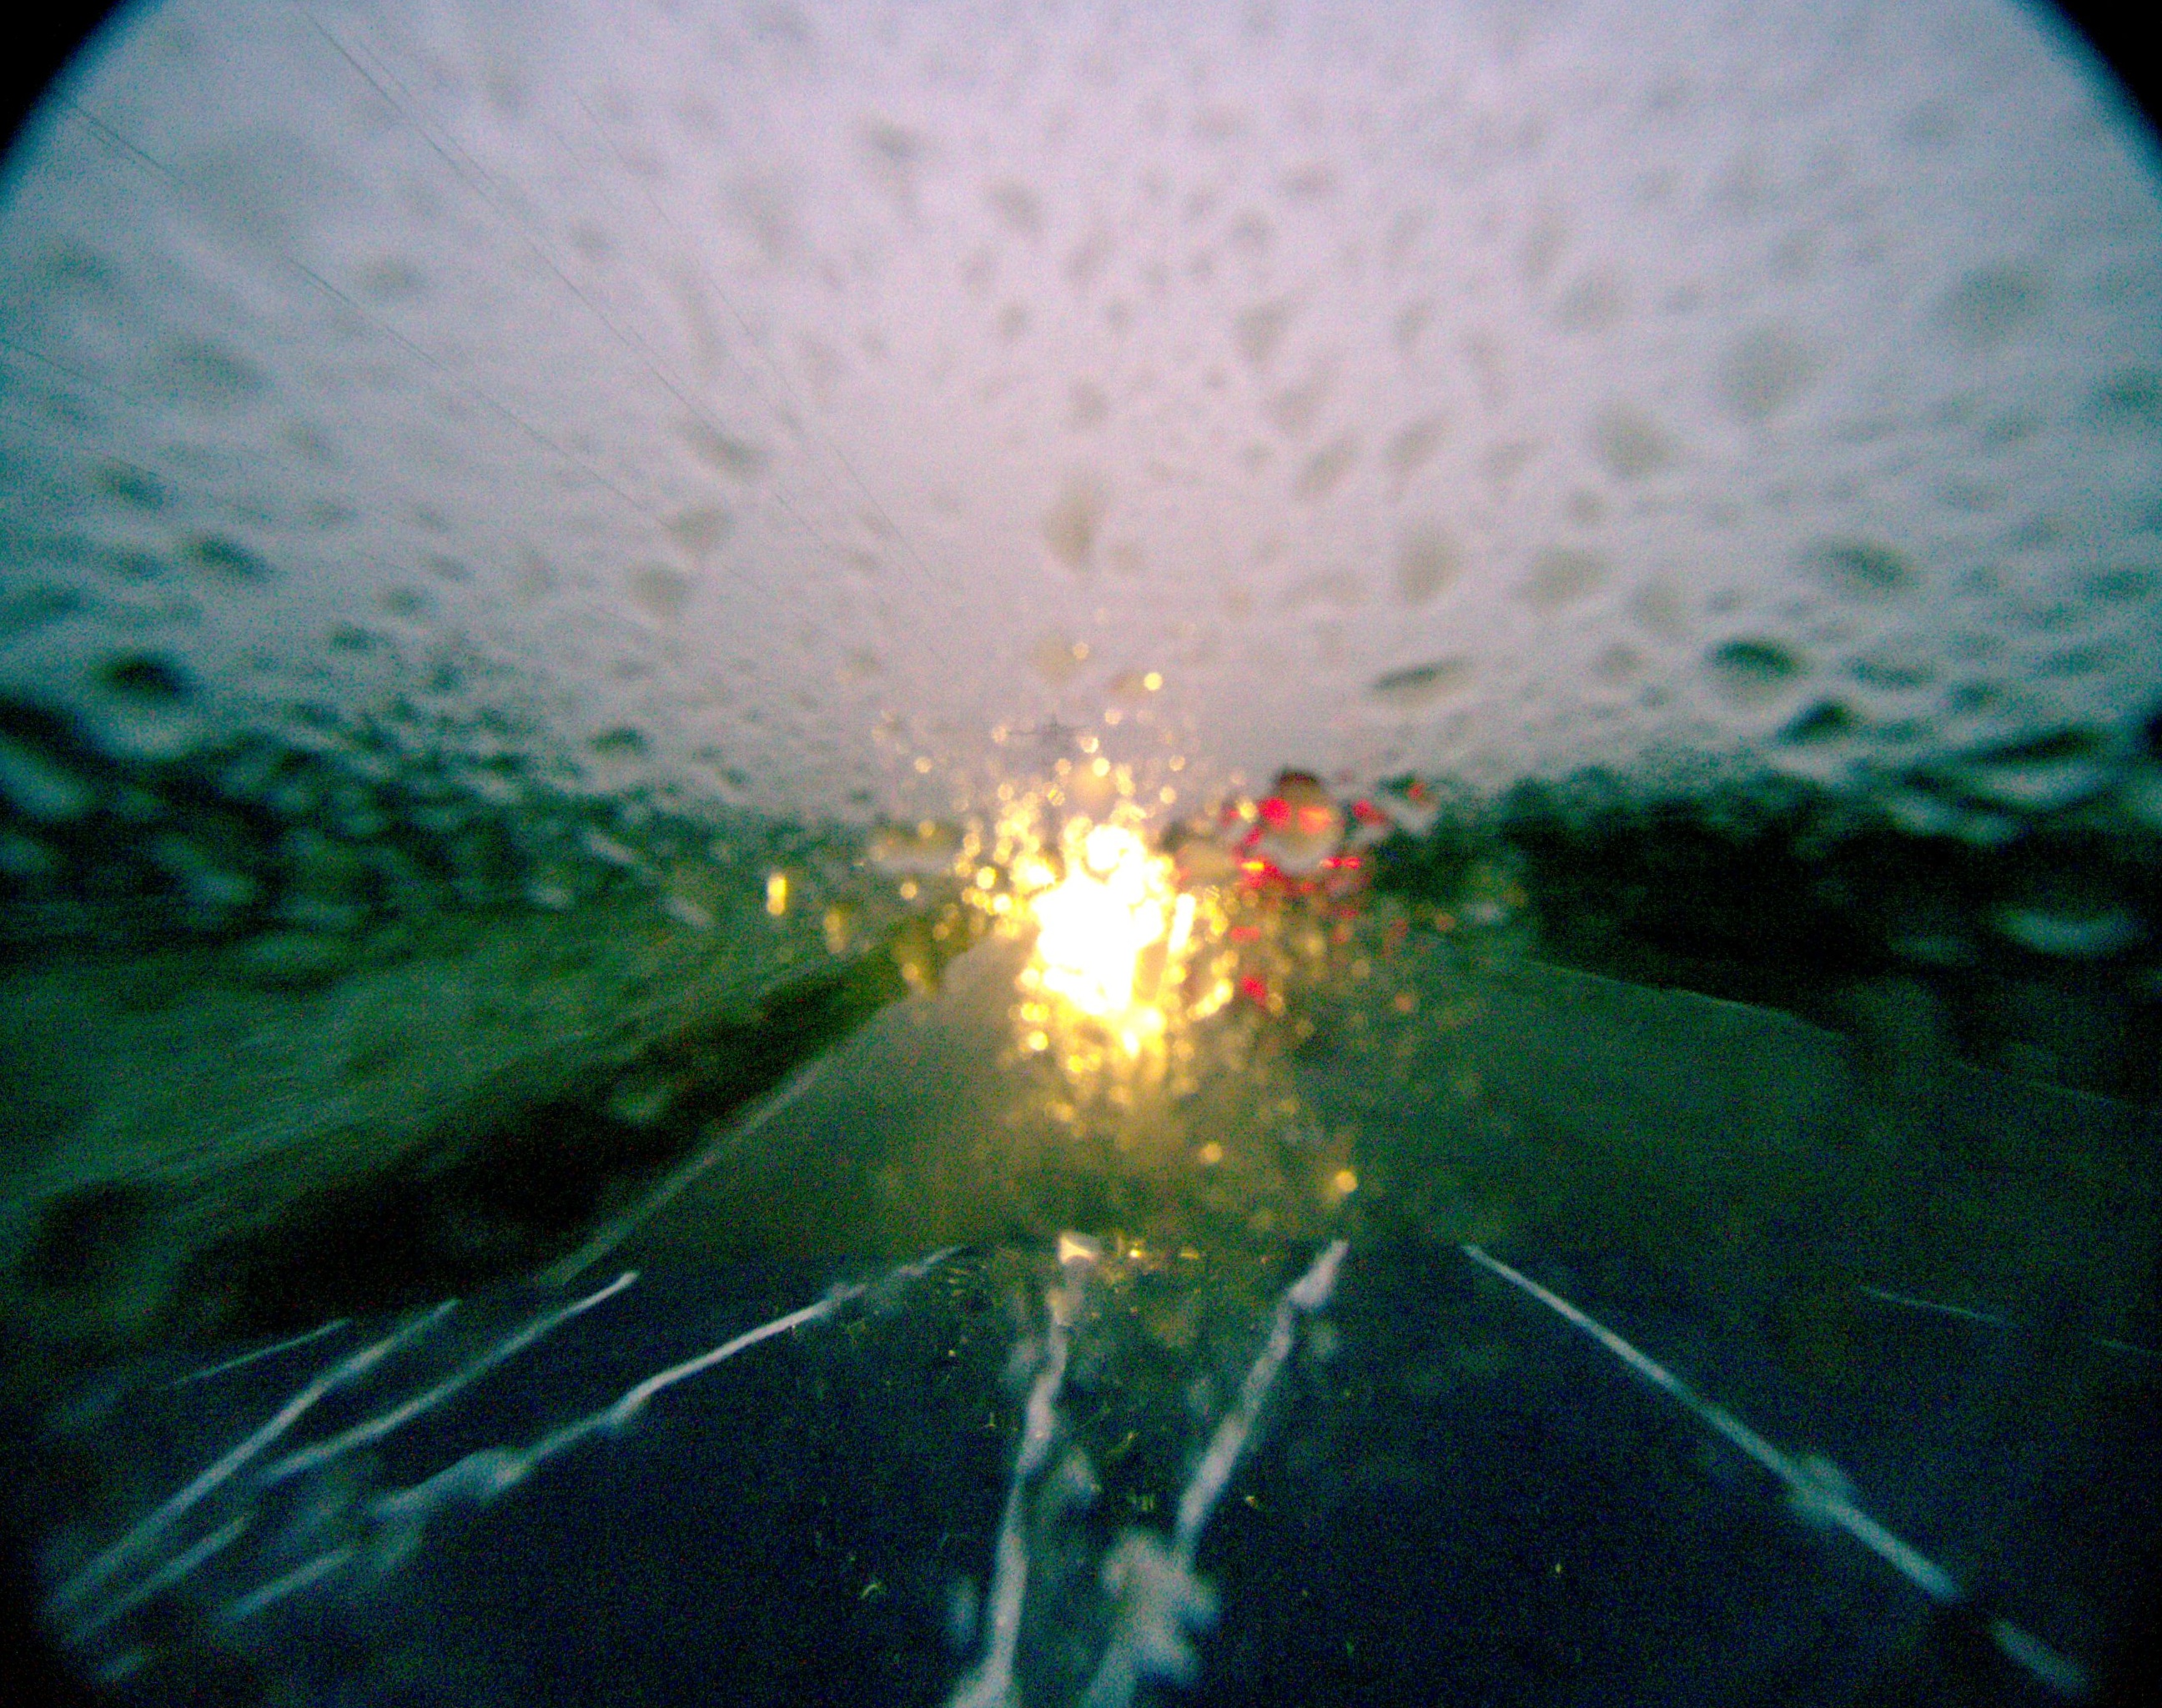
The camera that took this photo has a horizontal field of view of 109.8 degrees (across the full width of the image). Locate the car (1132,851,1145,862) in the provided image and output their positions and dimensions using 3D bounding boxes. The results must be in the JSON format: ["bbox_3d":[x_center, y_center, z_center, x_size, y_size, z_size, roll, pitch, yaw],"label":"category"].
[{"bbox_3d":[9.086,0.387,120.365,1.790,1.582,4.487,-2,0,3],"label":"car"}]

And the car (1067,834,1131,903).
[{"bbox_3d":[0.555,0.412,24.909,1.857,2.002,3.999,-2,1,0],"label":"car"}]

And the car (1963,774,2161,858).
[{"bbox_3d":[26.994,-0.957,19.463,2.318,2.002,5.603,-2,1,1],"label":"car"}]

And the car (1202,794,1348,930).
[{"bbox_3d":[4.388,0.151,18.342,1.958,2.659,6.271,-2,0,1],"label":"car"}]

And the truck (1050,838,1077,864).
[{"bbox_3d":[-2.034,-0.417,91.674,2.540,2.961,7.858,-2,1,3],"label":"truck"}]
